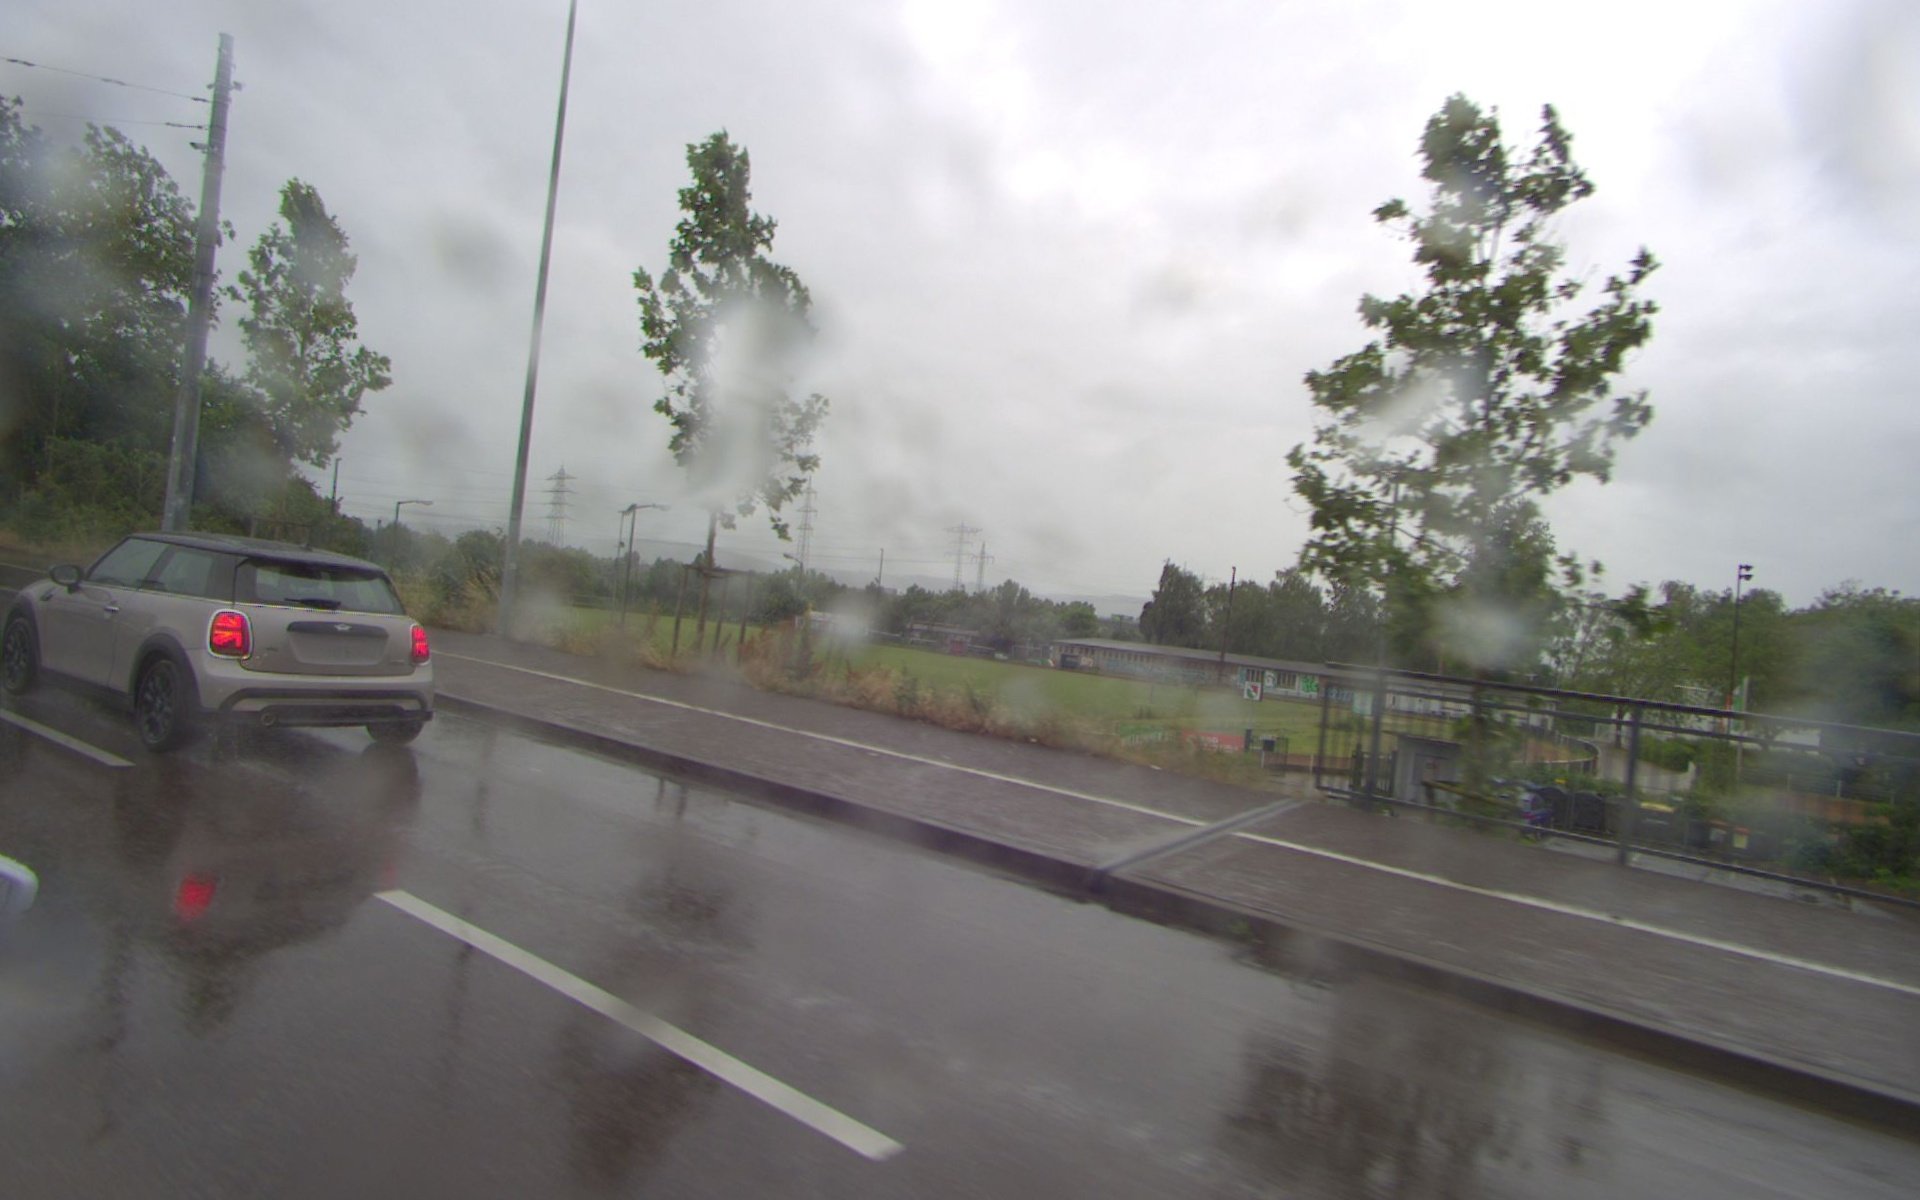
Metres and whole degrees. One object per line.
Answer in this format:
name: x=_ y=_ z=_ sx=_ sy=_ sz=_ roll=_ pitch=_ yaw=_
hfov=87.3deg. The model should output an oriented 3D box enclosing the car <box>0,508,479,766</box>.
car: x=-5.778 y=0.207 z=7.795 sx=3.790 sy=1.430 sz=1.795 roll=6 pitch=-2 yaw=31
